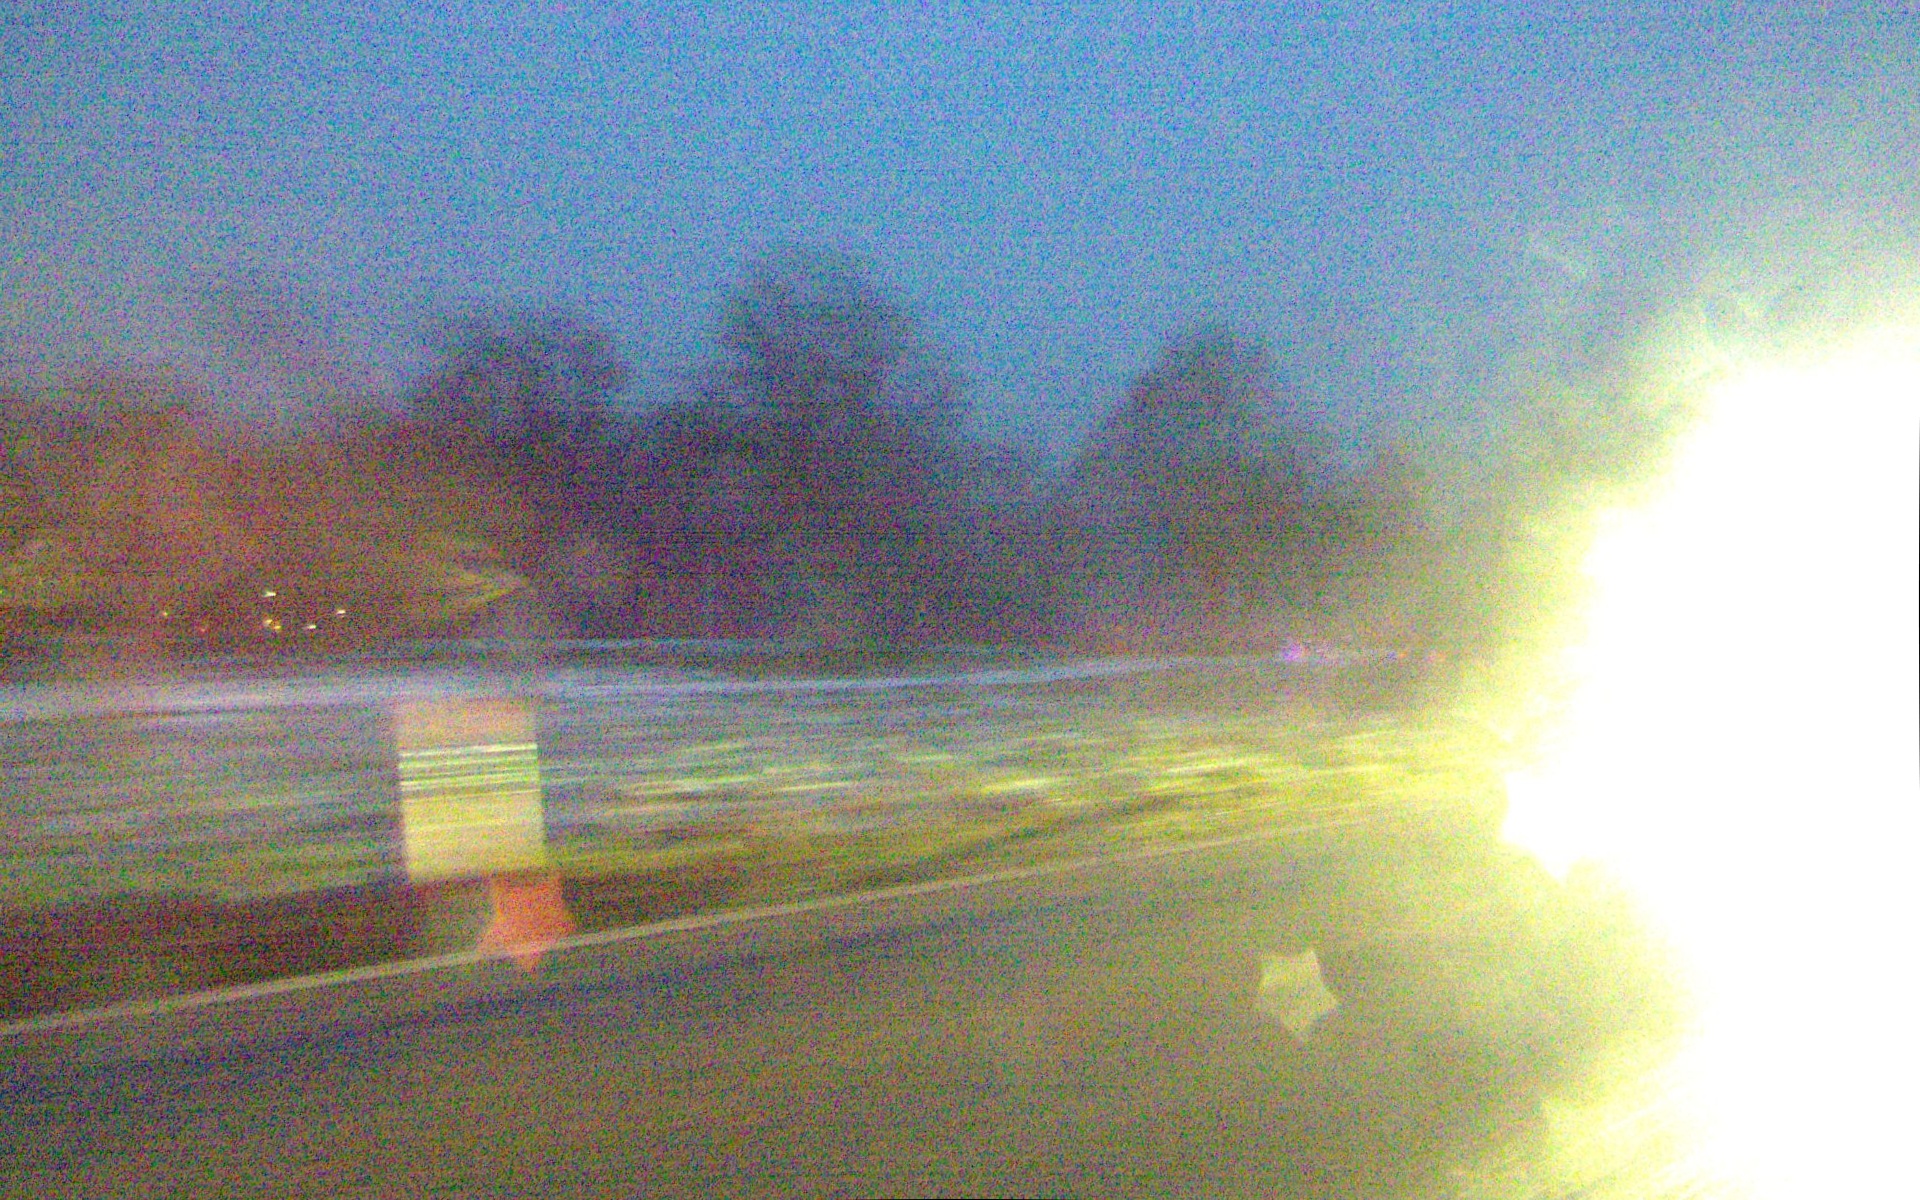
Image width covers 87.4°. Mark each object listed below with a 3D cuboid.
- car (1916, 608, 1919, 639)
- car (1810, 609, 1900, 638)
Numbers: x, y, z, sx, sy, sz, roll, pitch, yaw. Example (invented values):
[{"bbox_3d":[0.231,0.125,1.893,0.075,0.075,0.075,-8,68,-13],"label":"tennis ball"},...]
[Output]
[{"bbox_3d":[57.049,1.362,56.289,1.985,1.758,4.868,2,-1,-42],"label":"car"},{"bbox_3d":[56.082,1.475,63.057,4.100,1.709,1.687,-1,-3,39],"label":"car"}]
